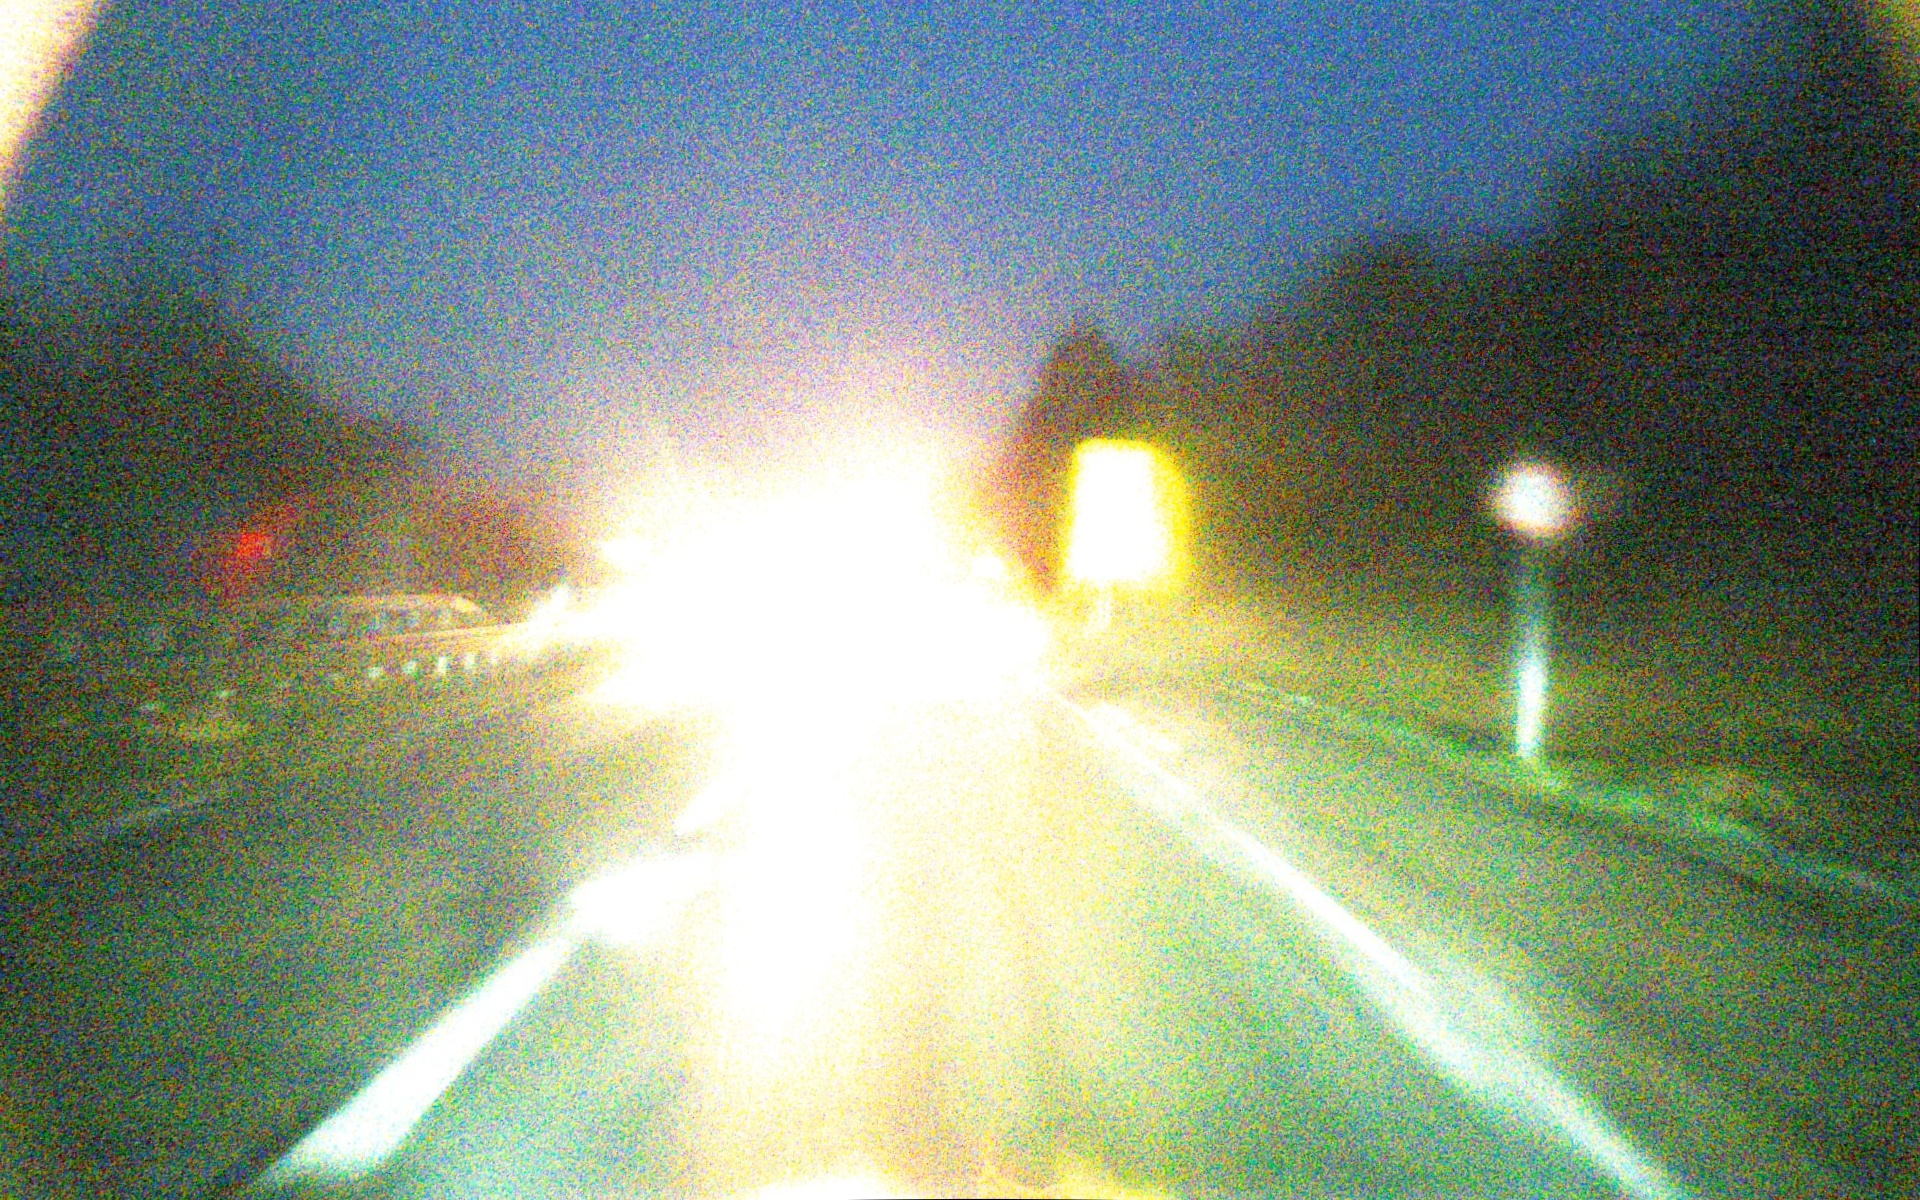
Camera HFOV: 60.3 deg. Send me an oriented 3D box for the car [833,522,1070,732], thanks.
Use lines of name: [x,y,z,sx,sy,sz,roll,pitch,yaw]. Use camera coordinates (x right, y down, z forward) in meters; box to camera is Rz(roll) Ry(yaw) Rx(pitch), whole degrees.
car: [-0.254,0.304,21.620,2.661,2.348,6.096,0,0,-3]

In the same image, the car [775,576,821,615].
car: [-7.126,-0.229,73.110,1.825,1.571,4.227,2,2,-4]

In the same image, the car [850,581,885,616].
car: [-5.312,-0.088,95.044,1.954,1.948,3.997,1,0,-4]
